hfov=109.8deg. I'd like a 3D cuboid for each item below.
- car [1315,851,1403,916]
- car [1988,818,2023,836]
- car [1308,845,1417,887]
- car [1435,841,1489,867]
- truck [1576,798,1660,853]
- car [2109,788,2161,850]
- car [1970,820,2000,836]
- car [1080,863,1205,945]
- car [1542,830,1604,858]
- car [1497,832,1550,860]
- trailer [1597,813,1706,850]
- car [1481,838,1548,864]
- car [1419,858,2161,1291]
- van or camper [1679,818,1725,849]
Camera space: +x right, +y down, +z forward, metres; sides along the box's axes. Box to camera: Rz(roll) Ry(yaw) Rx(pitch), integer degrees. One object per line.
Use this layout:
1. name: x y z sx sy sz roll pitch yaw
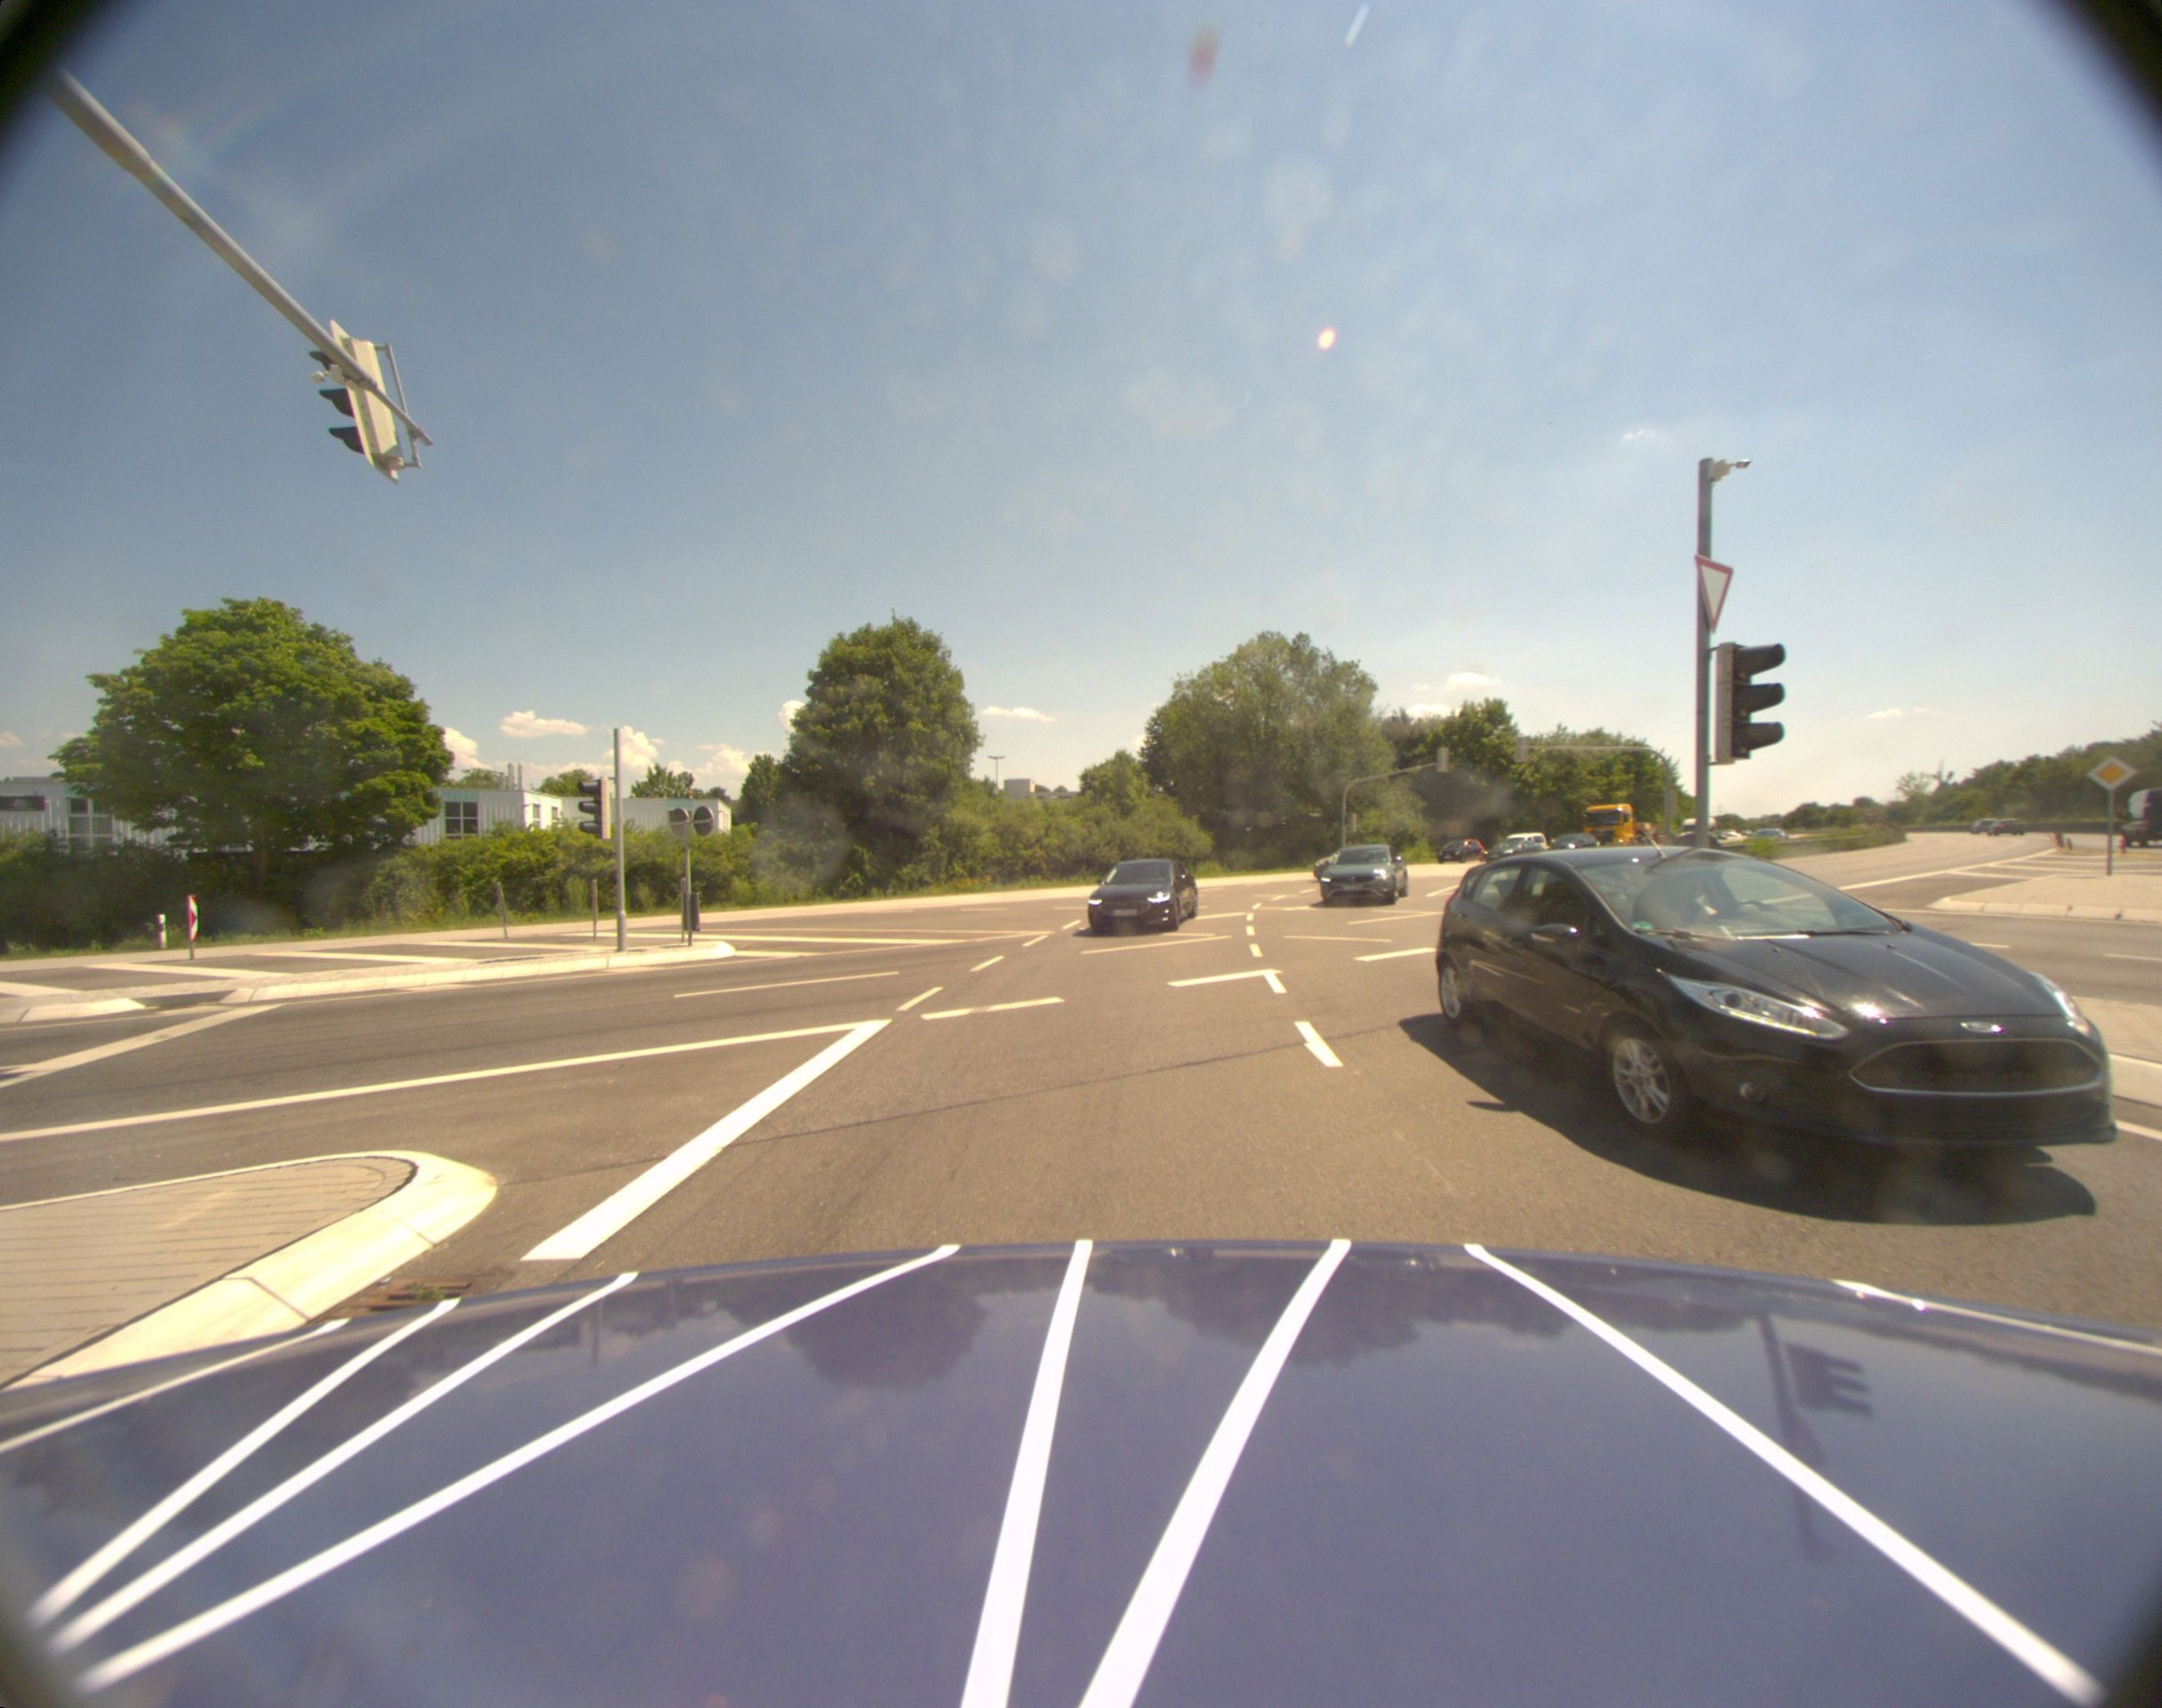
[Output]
1. car: 7.585 0.740 20.492 1.703 1.456 4.006 -2 1 27
2. car: 91.763 -2.683 75.463 4.665 1.683 1.994 -3 2 -42
3. car: 11.411 0.465 30.762 4.005 1.456 1.888 -3 1 -27
4. car: 24.966 -0.011 49.761 3.657 1.501 1.769 -3 1 -38
5. truck: 39.581 -2.146 55.884 7.483 3.751 3.015 -3 1 -39
6. car: 49.513 -1.670 34.849 5.907 2.689 2.060 -4 2 -44
7. car: 109.278 -3.108 91.864 4.866 1.763 1.994 -3 2 -44
8. car: 1.492 1.002 16.692 1.728 1.431 4.309 -2 1 18
9. car: 32.694 -0.682 50.424 4.654 1.630 1.785 -3 1 -35
10. car: 31.827 -0.571 54.615 4.801 1.797 1.768 -3 1 -41
11. trailer: 46.243 -1.882 61.208 16.385 2.578 3.029 -3 1 -39
12. car: 26.647 -0.194 46.626 4.617 1.402 1.769 -3 1 -36
13. car: 3.651 0.851 4.821 1.626 1.476 4.001 -2 1 7
14. van or camper: 57.075 -1.911 69.818 5.918 2.559 2.064 -3 1 -39
